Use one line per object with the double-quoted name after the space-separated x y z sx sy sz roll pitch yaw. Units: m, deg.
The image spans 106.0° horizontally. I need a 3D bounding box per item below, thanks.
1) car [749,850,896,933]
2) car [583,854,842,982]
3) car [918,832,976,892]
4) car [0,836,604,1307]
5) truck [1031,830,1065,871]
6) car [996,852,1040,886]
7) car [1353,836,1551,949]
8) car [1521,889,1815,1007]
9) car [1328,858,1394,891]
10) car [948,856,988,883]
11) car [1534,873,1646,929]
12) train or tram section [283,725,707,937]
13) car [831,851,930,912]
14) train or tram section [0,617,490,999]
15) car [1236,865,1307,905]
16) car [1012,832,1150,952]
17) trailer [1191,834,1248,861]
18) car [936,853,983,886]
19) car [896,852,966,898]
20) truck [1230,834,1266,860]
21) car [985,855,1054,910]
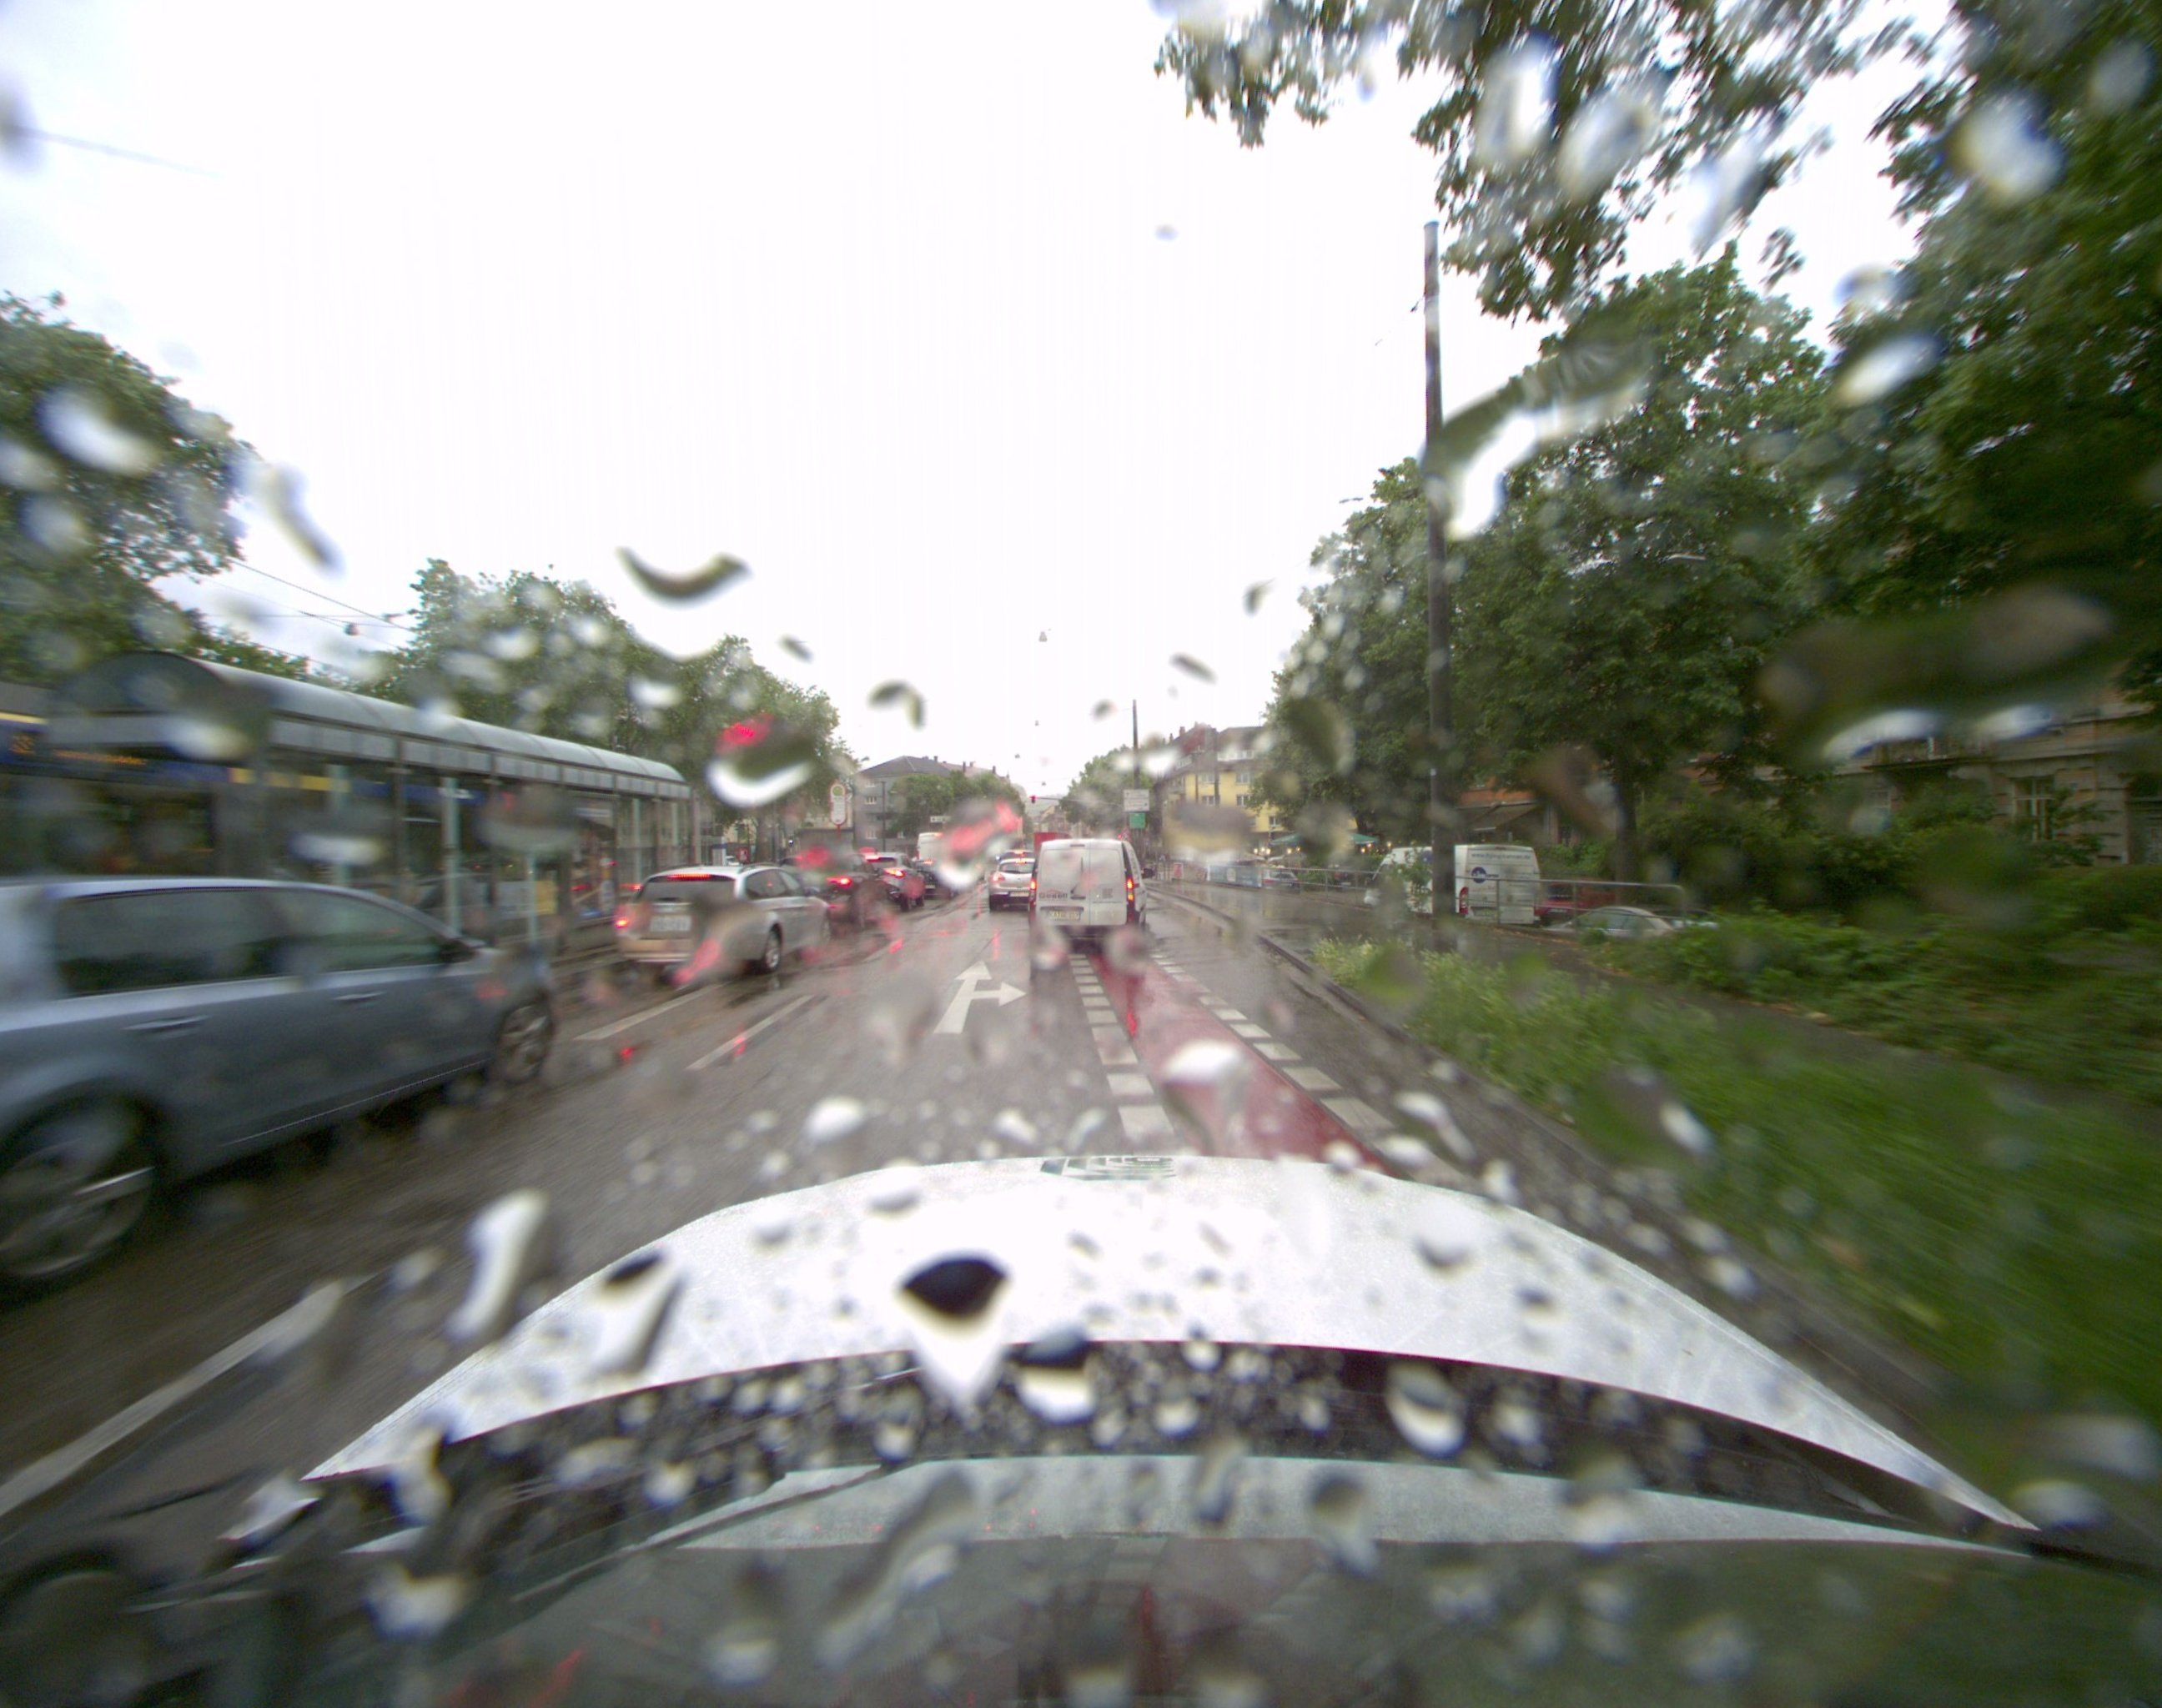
-5.392 0.736 17.618 1.989 1.578 4.287 1 -1 -3 "car"
-5.012 0.767 11.850 1.989 1.472 4.262 1 1 -3 "car"
-5.840 0.343 35.881 1.989 2.442 4.606 1 -1 -3 "car"
-4.630 0.733 4.202 1.989 1.537 4.128 -2 1 -3 "car"
-4.157 -0.547 105.066 3.266 4.899 11.406 -2 1 2 "truck"
-2.869 0.687 37.531 1.755 1.469 3.532 0 -1 0 "car"
9.627 0.865 21.839 2.177 2.532 5.766 -2 1 -6 "car"
10.207 1.522 14.662 1.821 1.490 4.342 -2 1 -7 "car"
15.081 1.075 43.736 1.867 1.478 4.025 -2 1 43 "car"
-6.781 0.917 49.341 1.989 1.596 4.606 1 -1 -3 "car"
16.026 1.418 25.585 3.688 1.437 1.691 -3 1 -36 "car"
-11.439 -0.433 17.570 2.973 3.285 8.972 -2 1 -4 "train or tram section"
-5.672 0.747 23.626 1.989 1.578 4.287 1 -1 -3 "car"
-10.871 -0.361 8.630 2.973 3.285 8.972 -2 1 -4 "train or tram section"
8.360 1.323 36.164 1.819 1.490 4.346 -2 1 -4 "car"
0.137 0.611 13.937 1.949 1.777 3.576 -1 -1 6 "car"
12.440 -0.593 73.370 4.656 2.317 1.992 0 -1 -12 "trailer"
-6.385 0.798 43.233 1.989 1.596 4.606 1 -1 -3 "car"
-5.506 0.746 30.373 1.989 1.578 4.287 1 -1 -3 "car"
15.124 -0.606 73.890 2.641 2.299 1.992 0 -1 -11 "truck"
-1.731 0.795 23.817 1.755 1.469 3.532 0 -1 0 "car"
